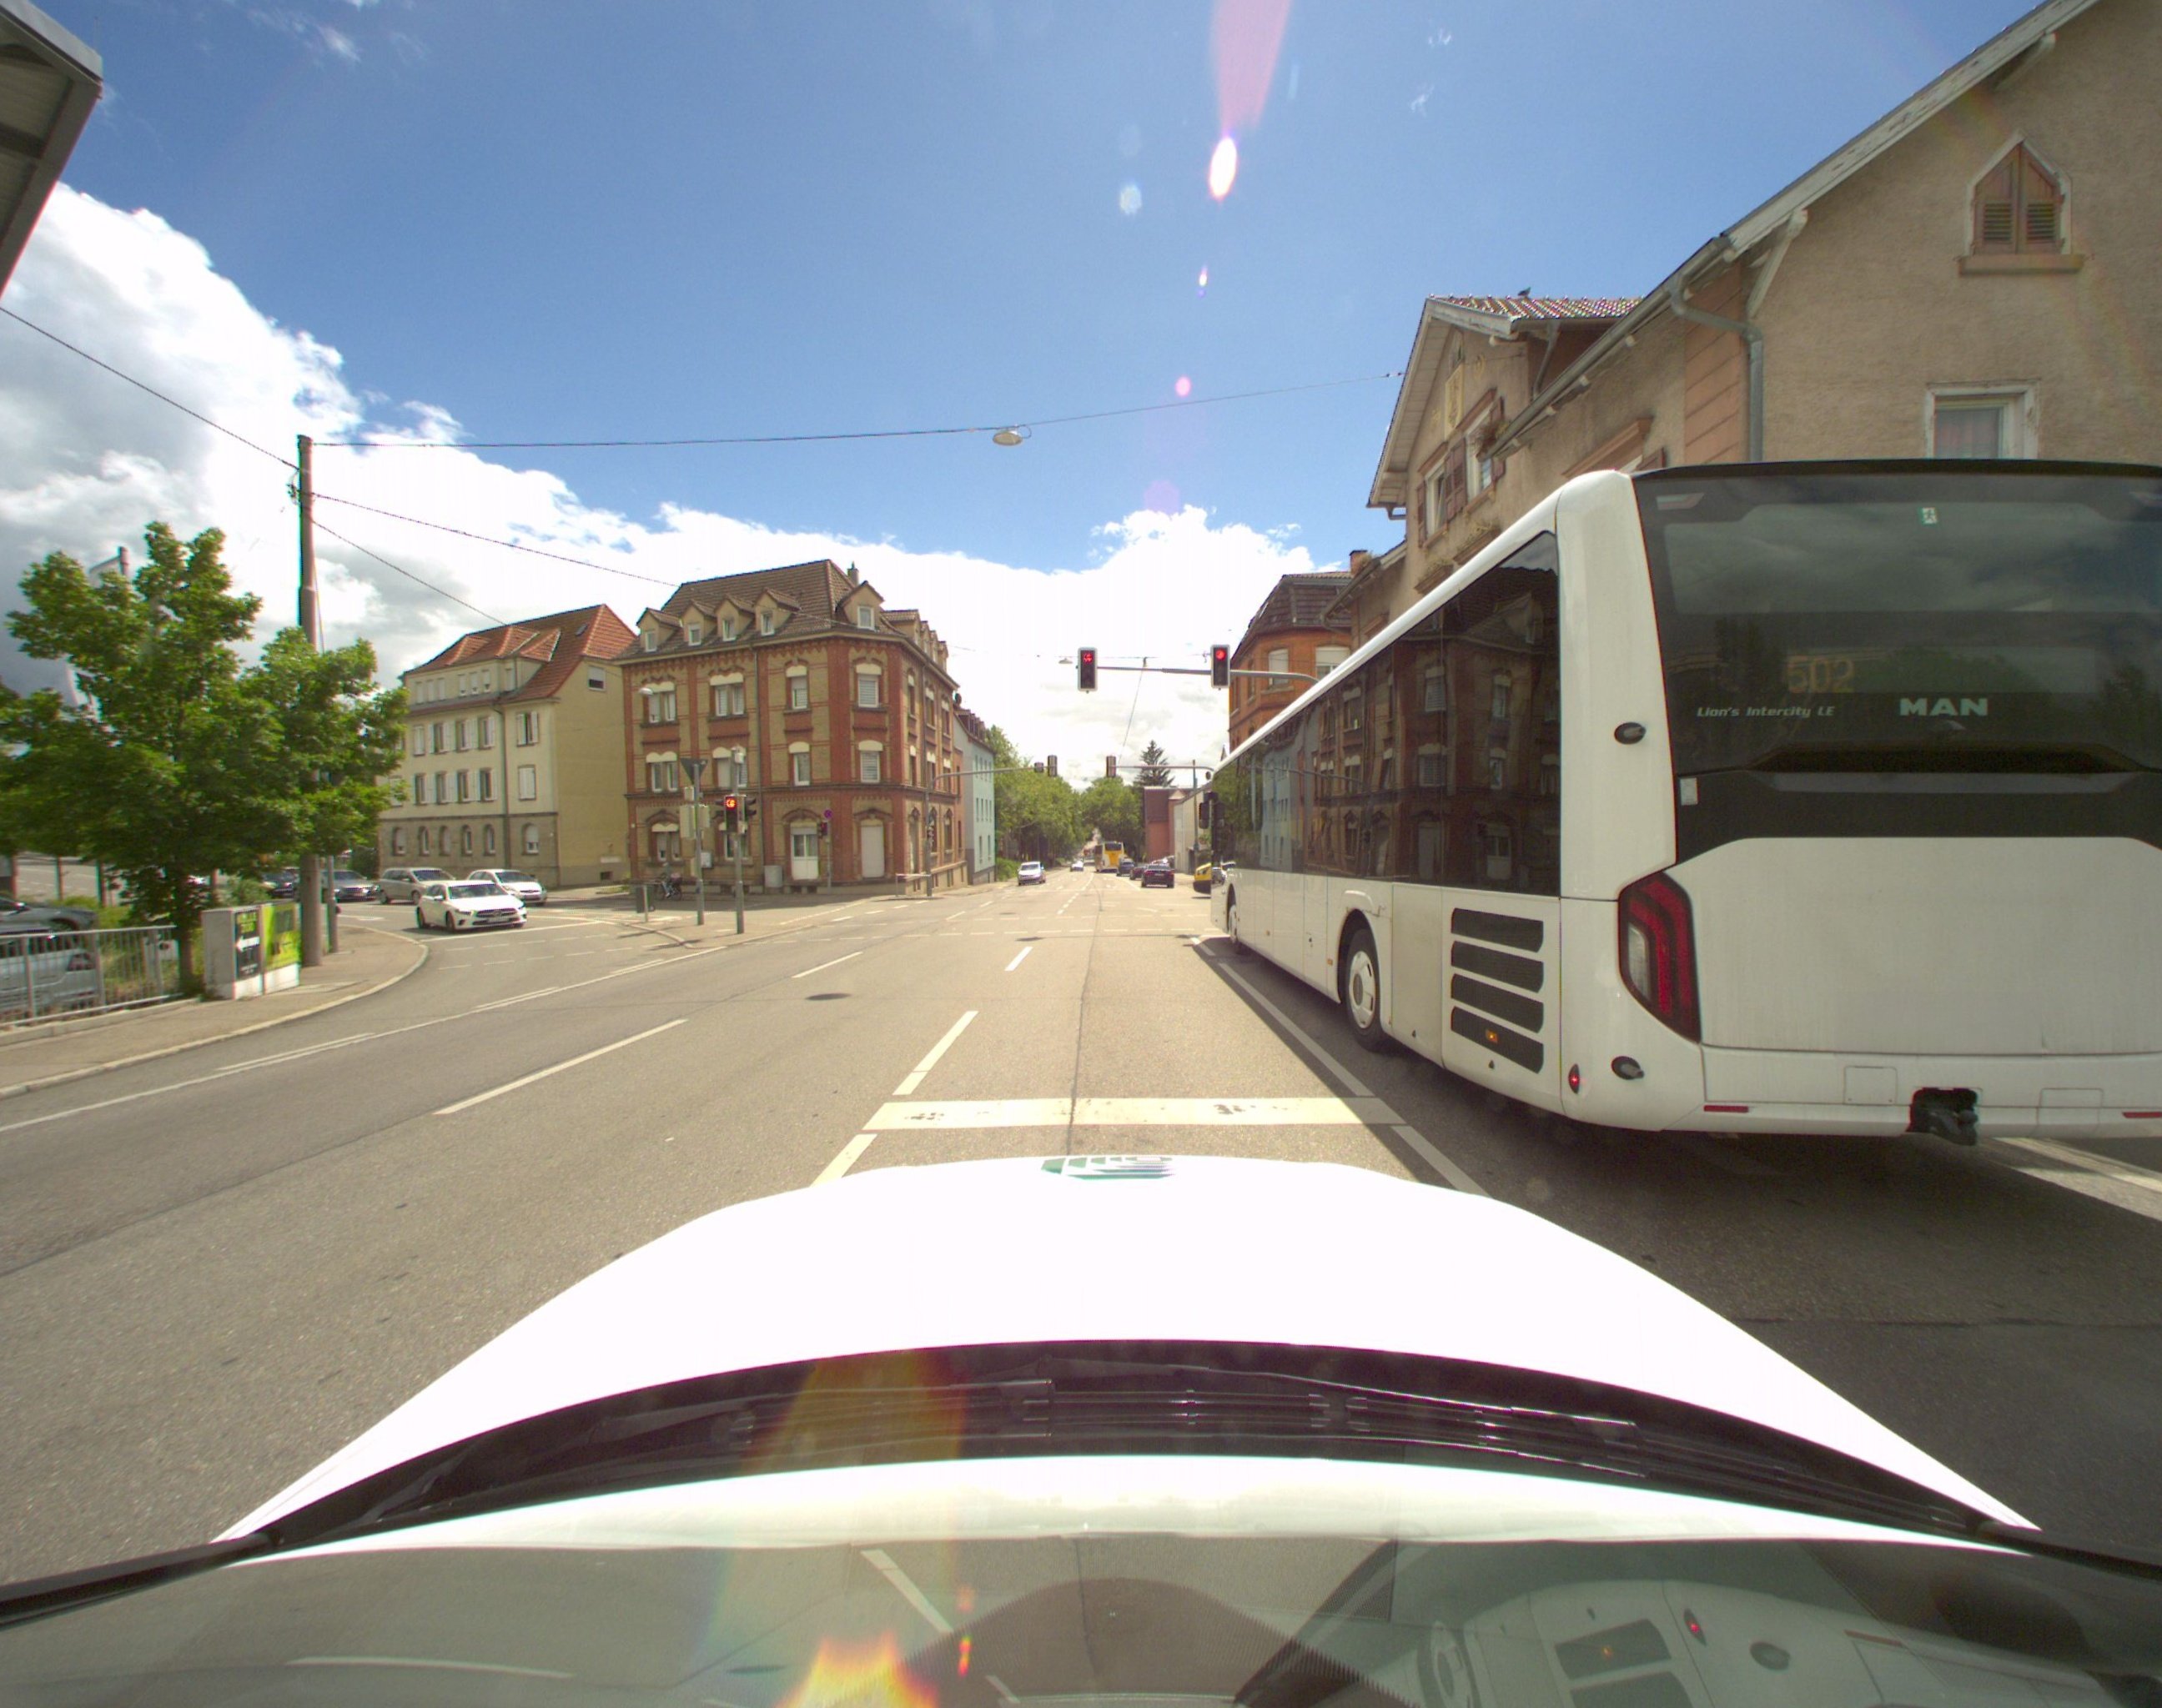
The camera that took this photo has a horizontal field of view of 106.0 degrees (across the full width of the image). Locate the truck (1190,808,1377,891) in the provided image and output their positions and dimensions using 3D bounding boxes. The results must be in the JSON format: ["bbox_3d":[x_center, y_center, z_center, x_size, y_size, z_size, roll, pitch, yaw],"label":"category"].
[{"bbox_3d":[7.425,-0.143,30.367,6.508,2.913,2.557,0,-1,11],"label":"truck"}]

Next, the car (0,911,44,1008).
[{"bbox_3d":[-19.710,1.833,14.154,3.744,1.523,1.526,-1,0,30],"label":"car"}]

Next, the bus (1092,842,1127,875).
[{"bbox_3d":[3.307,0.518,99.350,3.292,3.631,11.233,-2,0,-2],"label":"bus"}]

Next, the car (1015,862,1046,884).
[{"bbox_3d":[-3.767,1.403,61.600,1.928,1.563,4.390,-2,0,2],"label":"car"}]

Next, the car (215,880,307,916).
[{"bbox_3d":[-41.638,2.225,41.341,3.951,1.642,2.011,-2,0,24],"label":"car"}]

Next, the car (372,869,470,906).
[{"bbox_3d":[-29.207,1.469,36.049,3.951,1.519,1.757,-1,0,24],"label":"car"}]

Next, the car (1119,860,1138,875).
[{"bbox_3d":[4.412,1.257,76.422,1.603,1.376,4.002,-2,0,2],"label":"car"}]

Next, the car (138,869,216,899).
[{"bbox_3d":[-51.314,1.665,46.211,4.291,1.586,2.012,-1,0,29],"label":"car"}]

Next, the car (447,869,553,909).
[{"bbox_3d":[-23.598,1.391,33.063,3.951,1.497,1.711,-1,0,24],"label":"car"}]

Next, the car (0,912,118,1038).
[{"bbox_3d":[-16.114,1.741,12.184,3.638,1.575,1.766,-1,-2,34],"label":"car"}]

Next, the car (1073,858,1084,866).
[{"bbox_3d":[-0.525,1.568,168.014,2.199,1.613,4.549,-2,0,2],"label":"car"}]

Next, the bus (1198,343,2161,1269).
[{"bbox_3d":[3.506,-0.142,9.340,2.893,3.510,12.492,0,0,2],"label":"bus"}]

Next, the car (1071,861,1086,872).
[{"bbox_3d":[-0.292,1.669,109.205,1.858,1.367,4.549,-2,0,2],"label":"car"}]

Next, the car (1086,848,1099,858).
[{"bbox_3d":[3.502,-0.225,245.089,2.123,3.070,5.655,-1,-1,21],"label":"car"}]

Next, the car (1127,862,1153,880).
[{"bbox_3d":[4.711,1.336,65.467,1.858,1.367,4.549,-2,0,2],"label":"car"}]

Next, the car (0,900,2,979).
[{"bbox_3d":[-23.402,1.737,16.433,3.371,1.575,1.526,-1,0,30],"label":"car"}]

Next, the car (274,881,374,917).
[{"bbox_3d":[-35.451,2.078,38.141,3.951,1.519,2.011,-1,0,24],"label":"car"}]

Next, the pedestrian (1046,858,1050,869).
[{"bbox_3d":[-5.589,1.620,136.935,0.604,1.758,0.653,-2,0,0],"label":"pedestrian"}]

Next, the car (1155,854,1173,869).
[{"bbox_3d":[9.493,0.846,93.219,1.760,1.665,4.002,-2,0,2],"label":"car"}]

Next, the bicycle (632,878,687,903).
[{"bbox_3d":[-18.550,1.597,35.862,2.172,1.019,0.608,-2,0,9],"label":"bicycle"}]

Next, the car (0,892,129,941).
[{"bbox_3d":[-29.252,1.731,22.215,1.795,1.186,4.025,-1,0,31],"label":"car"}]

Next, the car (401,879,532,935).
[{"bbox_3d":[-18.353,1.540,24.280,4.334,1.447,1.875,-2,0,35],"label":"car"}]

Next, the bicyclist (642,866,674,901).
[{"bbox_3d":[-18.640,1.301,35.880,1.065,1.499,0.592,-2,0,10],"label":"bicyclist"}]

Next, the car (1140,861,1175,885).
[{"bbox_3d":[4.455,1.090,48.005,1.791,1.276,4.002,-2,0,2],"label":"car"}]
